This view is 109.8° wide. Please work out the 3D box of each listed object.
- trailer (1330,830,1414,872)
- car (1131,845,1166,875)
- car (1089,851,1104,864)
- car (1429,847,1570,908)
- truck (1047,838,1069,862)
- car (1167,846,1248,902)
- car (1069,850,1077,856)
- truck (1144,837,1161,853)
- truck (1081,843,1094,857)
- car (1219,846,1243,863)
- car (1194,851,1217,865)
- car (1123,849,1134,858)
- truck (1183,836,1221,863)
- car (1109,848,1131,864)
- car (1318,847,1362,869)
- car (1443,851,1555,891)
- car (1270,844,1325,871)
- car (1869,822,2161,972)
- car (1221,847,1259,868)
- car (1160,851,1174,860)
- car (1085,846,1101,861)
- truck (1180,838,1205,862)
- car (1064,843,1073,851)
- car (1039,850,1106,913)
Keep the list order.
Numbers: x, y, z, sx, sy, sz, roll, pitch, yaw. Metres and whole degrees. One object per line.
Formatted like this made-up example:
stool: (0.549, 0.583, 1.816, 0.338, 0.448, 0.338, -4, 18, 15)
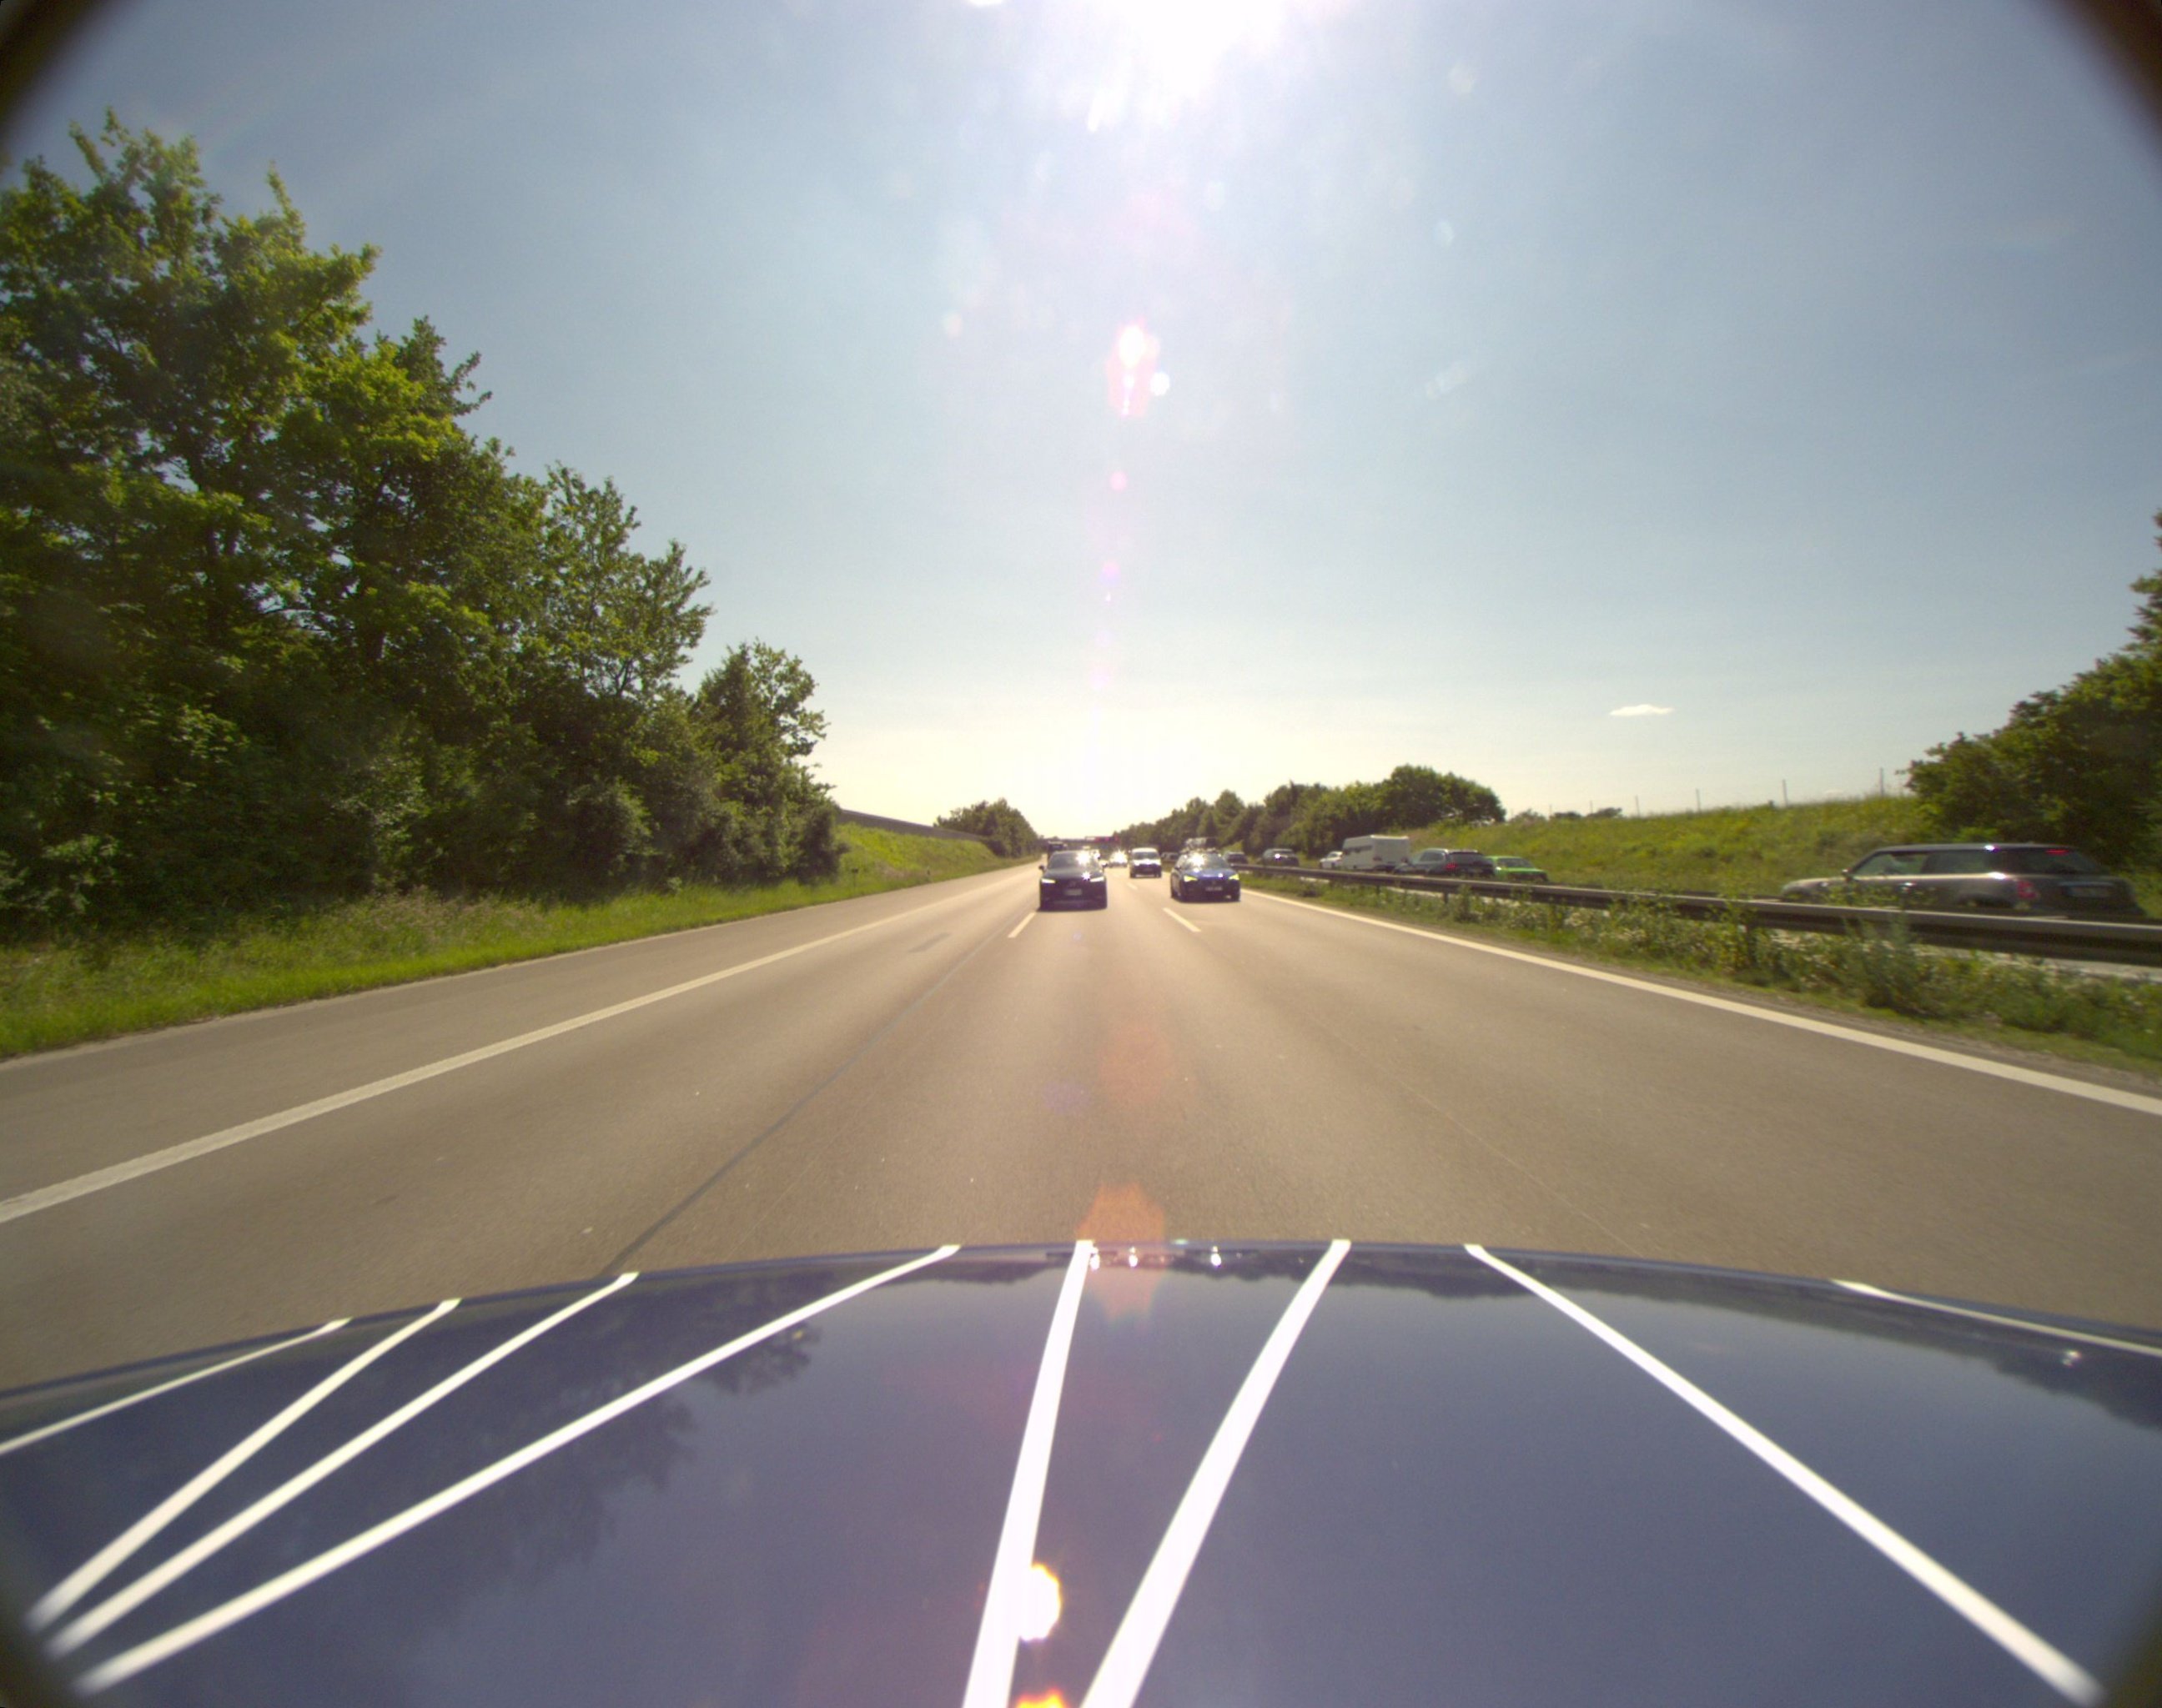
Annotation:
trailer: (20.389, -0.218, 53.891, 2.738, 2.671, 8.629, -1, 0, 0)
car: (4.110, 0.314, 46.606, 1.870, 1.713, 3.980, -1, 2, 2)
car: (1.950, 0.402, 94.008, 1.743, 1.630, 3.844, 0, 1, 2)
car: (12.451, 0.618, 23.005, 1.854, 1.565, 4.421, -1, 1, 0)
truck: (-3.406, -0.601, 110.532, 2.966, 3.388, 8.044, 0, 1, -3)
car: (3.950, 0.576, 24.370, 1.904, 1.616, 4.240, -1, 0, 1)
car: (-2.271, -0.240, 213.980, 1.999, 1.765, 4.236, -1, 0, 0)
truck: (18.705, -2.347, 199.297, 2.679, 4.055, 13.956, 1, 0, -1)
truck: (1.873, -1.068, 208.621, 3.243, 3.684, 10.932, 0, 1, -1)
car: (16.748, 0.061, 84.848, 1.819, 1.798, 4.381, -1, 0, 0)
car: (12.736, 0.379, 78.010, 1.720, 1.382, 4.000, 0, 0, 0)
car: (11.044, -0.097, 175.625, 2.095, 1.934, 5.688, -1, 0, 0)
truck: (19.586, -0.714, 124.516, 3.220, 4.026, 16.670, 0, 0, -1)
car: (4.068, 0.201, 79.868, 1.999, 1.540, 3.998, -1, 2, -1)
car: (20.173, 0.296, 59.465, 1.851, 1.597, 4.810, -1, 0, 0)
car: (16.105, 0.587, 29.576, 1.748, 1.419, 4.803, -1, 0, 1)
car: (12.448, 0.184, 43.986, 1.917, 1.508, 4.616, 0, 0, 0)
car: (12.474, 0.443, 8.550, 1.998, 1.595, 5.089, -1, 0, 1)
car: (12.116, 0.222, 58.043, 1.917, 1.508, 4.616, 0, 0, 0)
car: (15.702, 0.327, 139.514, 1.998, 1.604, 4.580, 0, 0, 0)
car: (2.654, -0.133, 166.291, 3.243, 3.094, 7.602, 0, 1, -1)
truck: (19.381, -0.752, 132.526, 3.249, 4.026, 7.393, 0, 0, -2)
car: (-2.958, -1.572, 181.458, 1.998, 1.856, 4.228, 0, 0, 1)
car: (-0.217, 0.743, 22.823, 1.812, 1.648, 4.000, -2, 0, 0)
